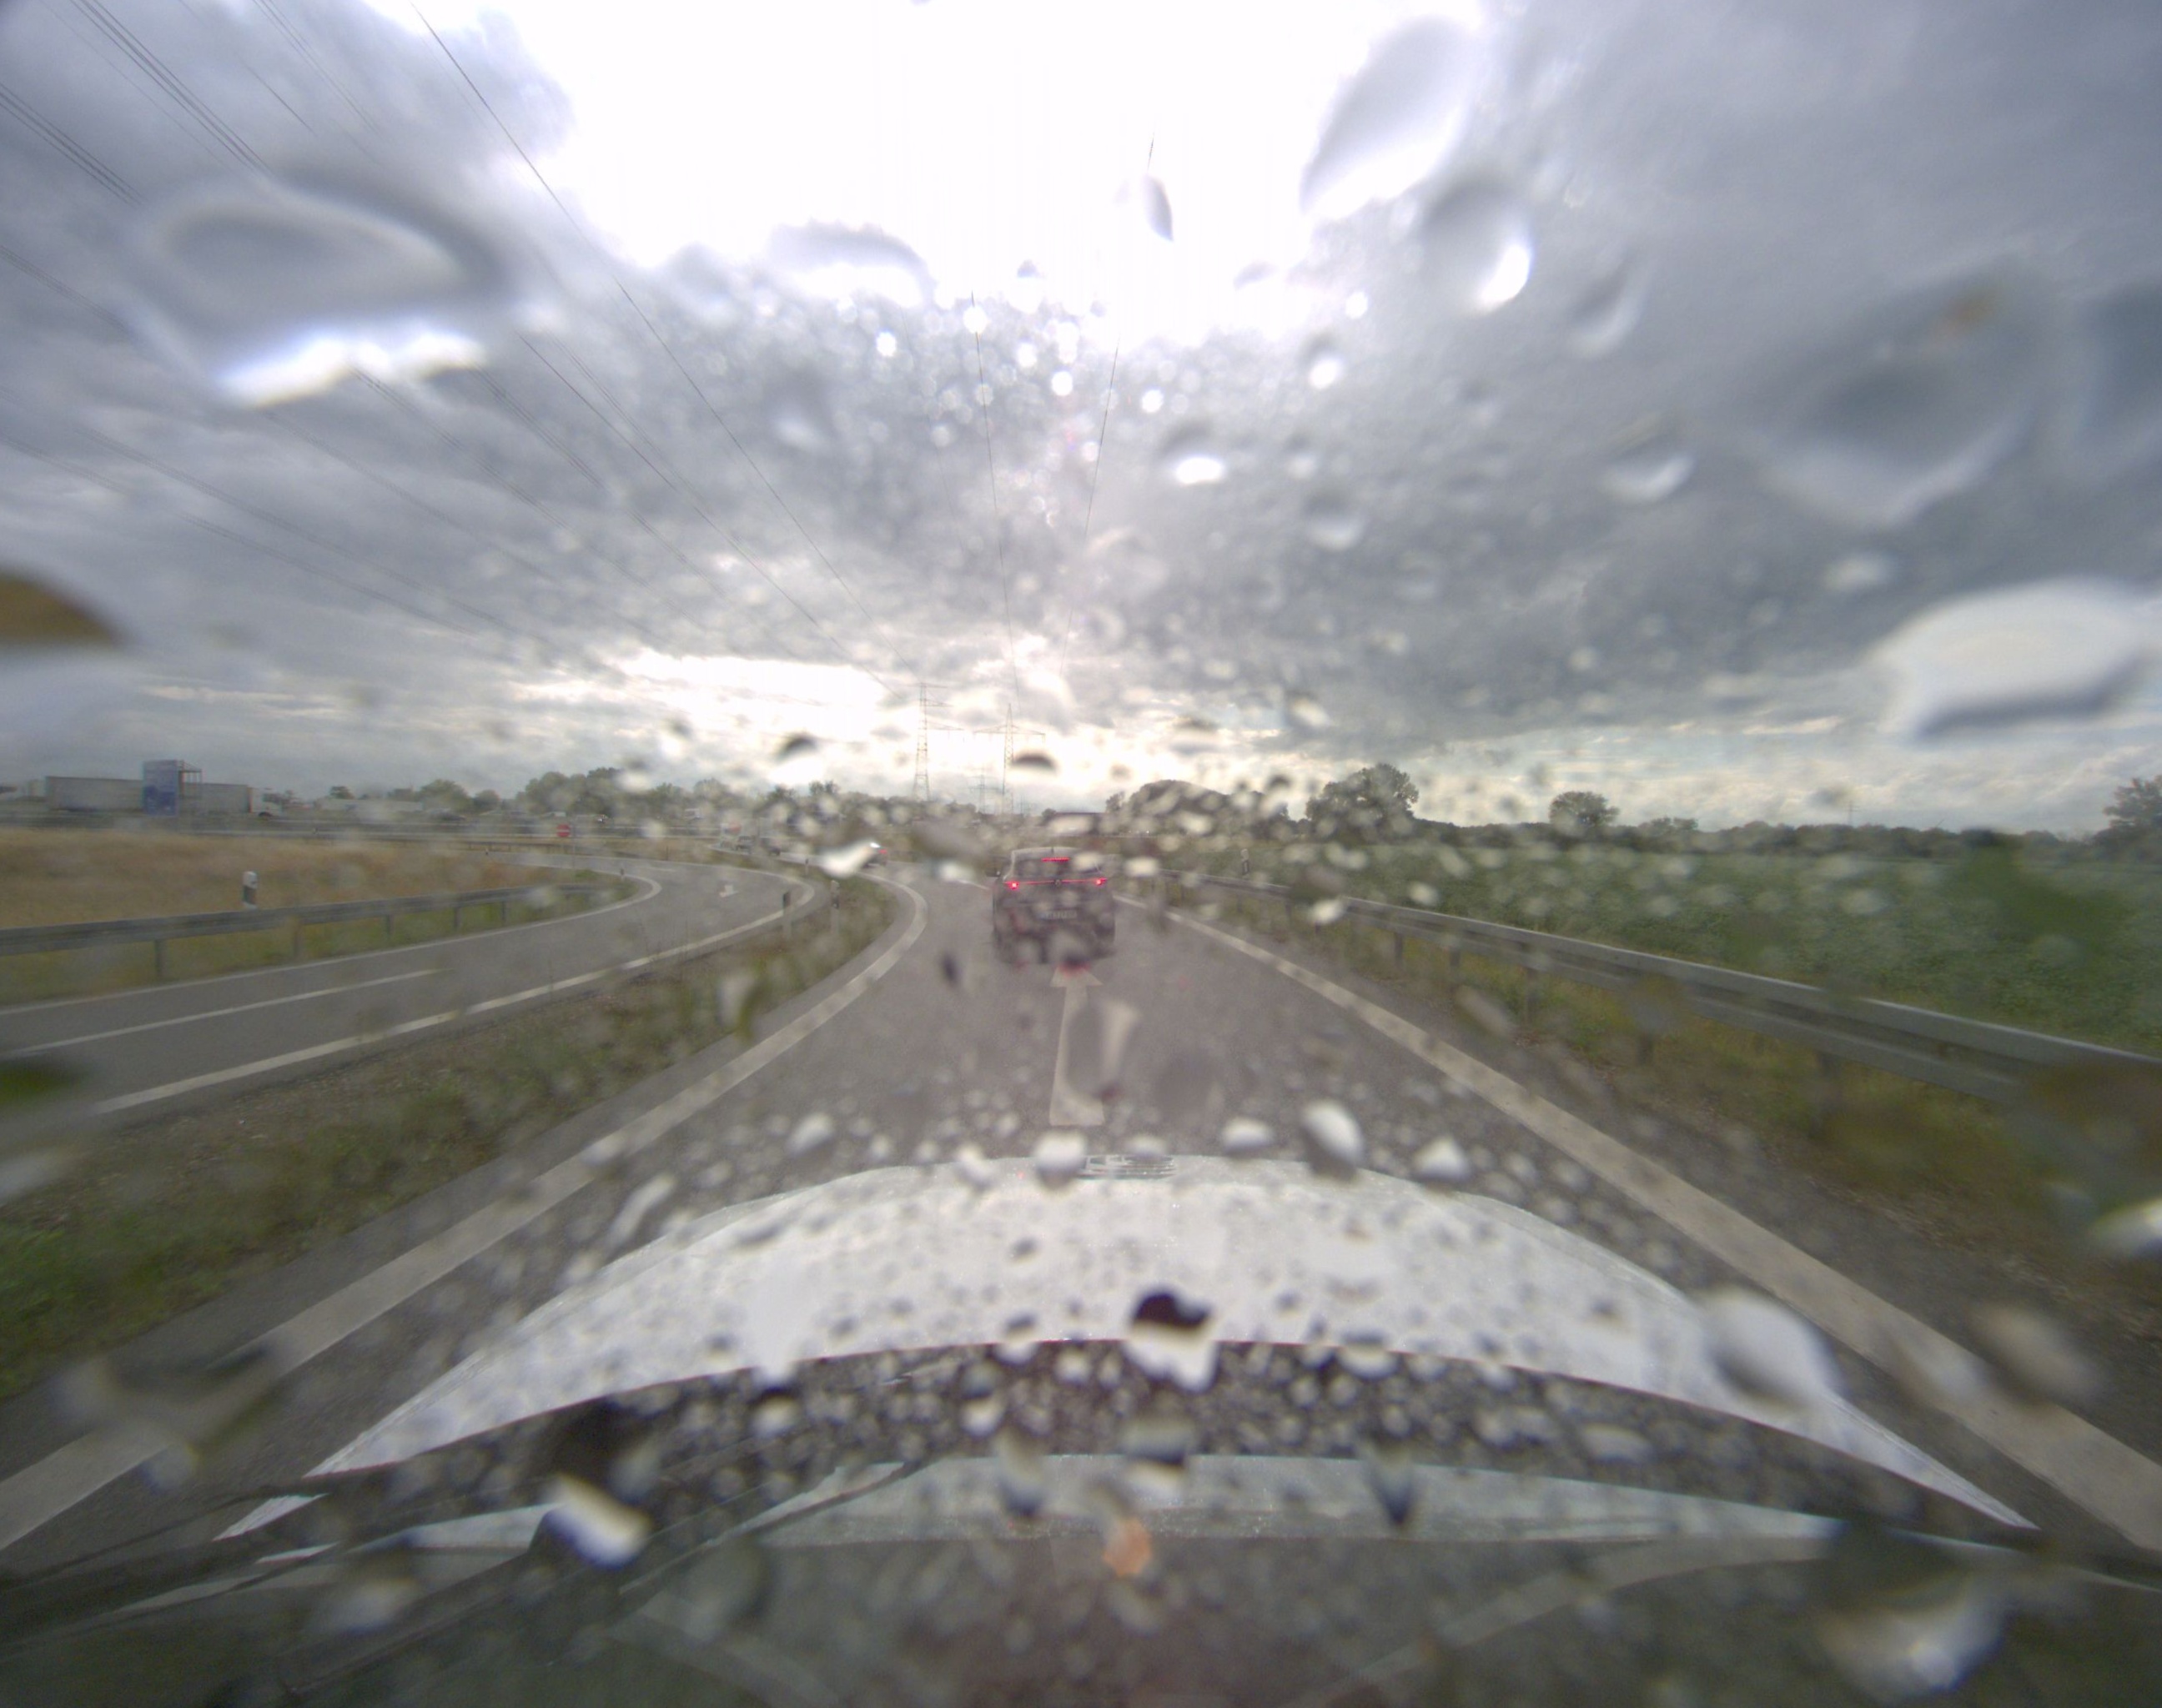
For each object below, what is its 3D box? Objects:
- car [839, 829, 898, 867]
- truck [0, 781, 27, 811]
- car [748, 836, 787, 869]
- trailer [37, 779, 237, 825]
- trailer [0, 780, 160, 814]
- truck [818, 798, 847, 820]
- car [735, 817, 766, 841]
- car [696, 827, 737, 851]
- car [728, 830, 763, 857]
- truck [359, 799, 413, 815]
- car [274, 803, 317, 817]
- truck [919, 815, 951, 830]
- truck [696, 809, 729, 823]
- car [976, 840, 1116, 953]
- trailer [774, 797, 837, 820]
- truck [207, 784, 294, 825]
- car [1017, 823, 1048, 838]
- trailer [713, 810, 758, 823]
[{"bbox_3d":[-12.544,-0.410,47.830,2.133,2.017,5.486,1,1,-27],"label":"car"},{"bbox_3d":[-131.846,-7.088,96.923,2.789,3.540,7.425,3,2,29],"label":"truck"},{"bbox_3d":[-25.129,-0.204,65.233,2.365,2.306,5.084,-1,4,-28],"label":"car"},{"bbox_3d":[-100.169,-5.471,86.943,3.440,4.615,13.479,3,4,31],"label":"trailer"},{"bbox_3d":[-128.160,-7.199,103.624,2.823,3.670,14.188,3,2,29],"label":"trailer"},{"bbox_3d":[-52.369,-9.387,171.398,3.039,4.478,5.105,3,4,30],"label":"truck"},{"bbox_3d":[-44.134,-3.411,109.039,3.143,2.950,7.171,0,3,-16],"label":"car"},{"bbox_3d":[-38.737,-1.648,86.481,2.372,2.306,5.067,-2,5,-44],"label":"car"},{"bbox_3d":[-31.705,-1.020,76.843,2.367,2.306,5.080,-1,4,-31],"label":"car"},{"bbox_3d":[-112.431,-7.639,131.838,1.975,2.499,6.350,3,4,29],"label":"truck"},{"bbox_3d":[-111.726,-6.231,115.853,1.869,1.848,4.026,3,4,32],"label":"car"},{"bbox_3d":[-43.888,-9.545,245.167,1.975,4.123,12.575,2,1,30],"label":"truck"},{"bbox_3d":[-83.054,-8.536,183.635,2.291,3.025,6.509,3,4,28],"label":"truck"},{"bbox_3d":[-0.614,0.590,13.936,1.989,1.566,4.144,-2,1,-3],"label":"car"},{"bbox_3d":[-55.743,-9.199,165.342,3.019,4.634,13.387,3,4,29],"label":"trailer"},{"bbox_3d":[-95.854,-5.716,94.111,3.308,4.564,6.309,3,4,31],"label":"truck"},{"bbox_3d":[-12.148,-5.843,203.926,3.351,3.610,9.100,2,1,28],"label":"car"},{"bbox_3d":[-80.058,-8.763,189.102,2.291,3.025,10.551,3,4,28],"label":"trailer"}]
